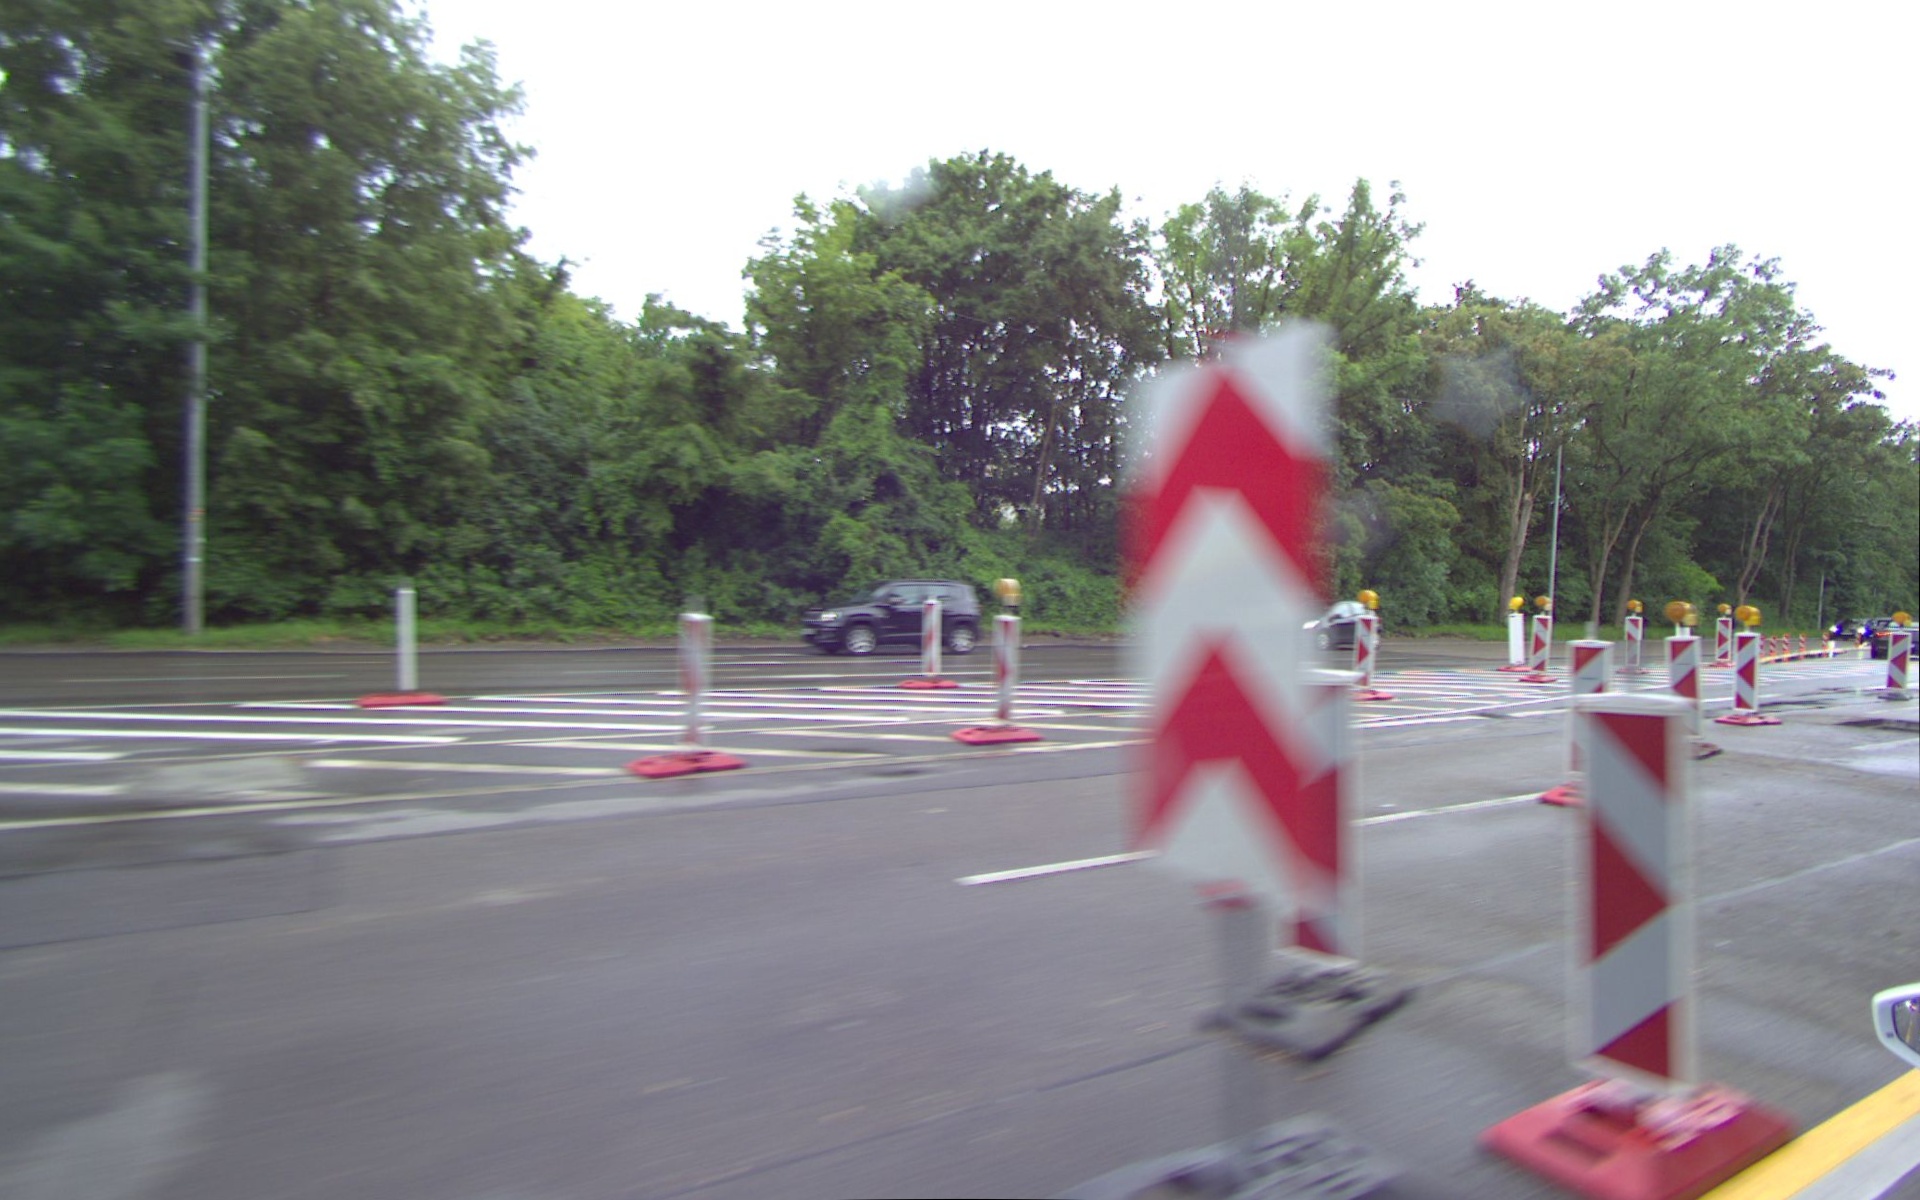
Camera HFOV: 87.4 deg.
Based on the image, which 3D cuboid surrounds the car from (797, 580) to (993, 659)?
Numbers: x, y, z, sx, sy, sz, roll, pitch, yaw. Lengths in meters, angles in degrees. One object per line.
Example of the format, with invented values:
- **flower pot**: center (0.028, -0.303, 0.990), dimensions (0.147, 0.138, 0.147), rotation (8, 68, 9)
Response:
- **car**: center (-1.427, 0.433, 22.745), dimensions (4.150, 1.669, 1.627), rotation (1, 0, -31)

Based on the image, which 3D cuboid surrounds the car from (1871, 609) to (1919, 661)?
- **car**: center (32.921, 1.168, 34.440), dimensions (3.964, 1.512, 1.847), rotation (-2, 4, -38)

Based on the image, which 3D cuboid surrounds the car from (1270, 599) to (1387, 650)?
- **car**: center (11.260, 0.747, 30.683), dimensions (3.499, 1.476, 1.517), rotation (1, -1, -31)
